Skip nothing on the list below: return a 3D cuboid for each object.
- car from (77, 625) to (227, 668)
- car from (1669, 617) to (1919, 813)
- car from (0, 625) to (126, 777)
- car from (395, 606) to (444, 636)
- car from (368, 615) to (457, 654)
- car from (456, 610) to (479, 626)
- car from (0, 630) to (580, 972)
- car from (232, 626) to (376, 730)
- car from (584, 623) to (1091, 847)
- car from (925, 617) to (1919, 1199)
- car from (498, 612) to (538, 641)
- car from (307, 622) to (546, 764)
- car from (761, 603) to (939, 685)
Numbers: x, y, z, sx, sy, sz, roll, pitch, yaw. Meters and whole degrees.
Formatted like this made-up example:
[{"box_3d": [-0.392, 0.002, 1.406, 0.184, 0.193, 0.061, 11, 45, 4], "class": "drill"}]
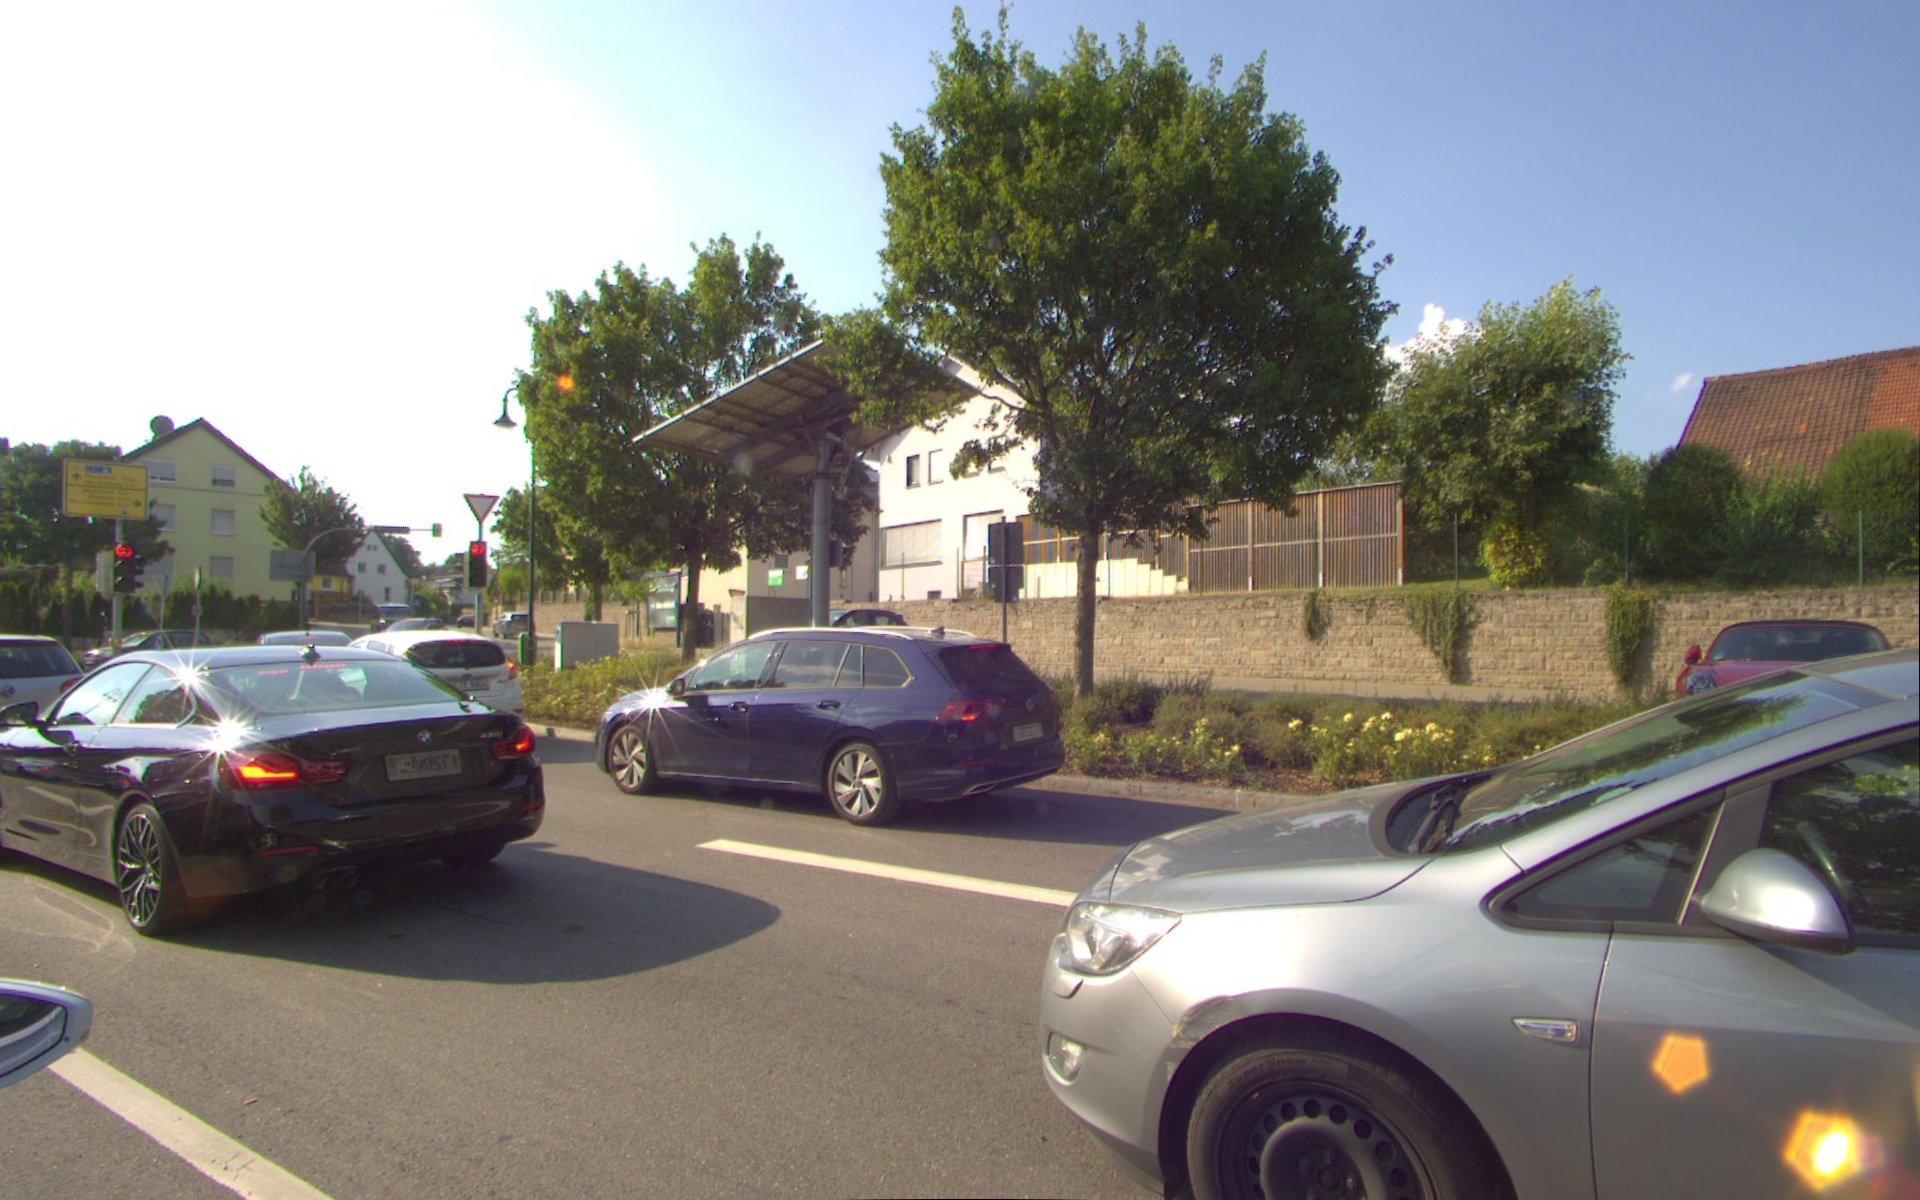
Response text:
[{"box_3d": [-30.063, 1.716, 37.359, 1.821, 1.508, 3.983, -1, -2, 30], "class": "car"}, {"box_3d": [8.231, 0.954, 9.736, 1.758, 1.510, 4.120, -1, -2, 41], "class": "car"}, {"box_3d": [-10.799, 1.012, 10.772, 3.848, 1.444, 1.758, -1, 0, 33], "class": "car"}, {"box_3d": [-32.500, 1.293, 60.303, 1.816, 1.761, 4.775, 1, -2, -19], "class": "car"}, {"box_3d": [-24.199, 1.532, 44.439, 1.813, 1.662, 4.431, 0, -2, -5], "class": "car"}, {"box_3d": [-54.728, 2.035, 111.350, 1.939, 1.701, 4.202, 0, -1, -23], "class": "car"}, {"box_3d": [-4.429, 0.916, 6.179, 4.220, 1.416, 1.758, -1, 0, 33], "class": "car"}, {"box_3d": [-11.746, 1.271, 17.807, 1.643, 1.562, 4.362, -1, 0, -40], "class": "car"}, {"box_3d": [-1.175, 0.950, 8.636, 4.259, 1.472, 1.757, -1, 0, 34], "class": "car"}, {"box_3d": [2.179, 0.784, 2.153, 4.256, 1.472, 1.758, -1, 0, 31], "class": "car"}, {"box_3d": [-27.436, 1.616, 62.064, 1.942, 1.701, 4.195, 0, -1, -29], "class": "car"}, {"box_3d": [-6.911, 1.081, 12.880, 3.278, 1.562, 1.611, -1, 0, 40], "class": "car"}, {"box_3d": [-2.370, 0.962, 22.290, 1.758, 1.653, 3.800, -1, -2, 40], "class": "car"}]
